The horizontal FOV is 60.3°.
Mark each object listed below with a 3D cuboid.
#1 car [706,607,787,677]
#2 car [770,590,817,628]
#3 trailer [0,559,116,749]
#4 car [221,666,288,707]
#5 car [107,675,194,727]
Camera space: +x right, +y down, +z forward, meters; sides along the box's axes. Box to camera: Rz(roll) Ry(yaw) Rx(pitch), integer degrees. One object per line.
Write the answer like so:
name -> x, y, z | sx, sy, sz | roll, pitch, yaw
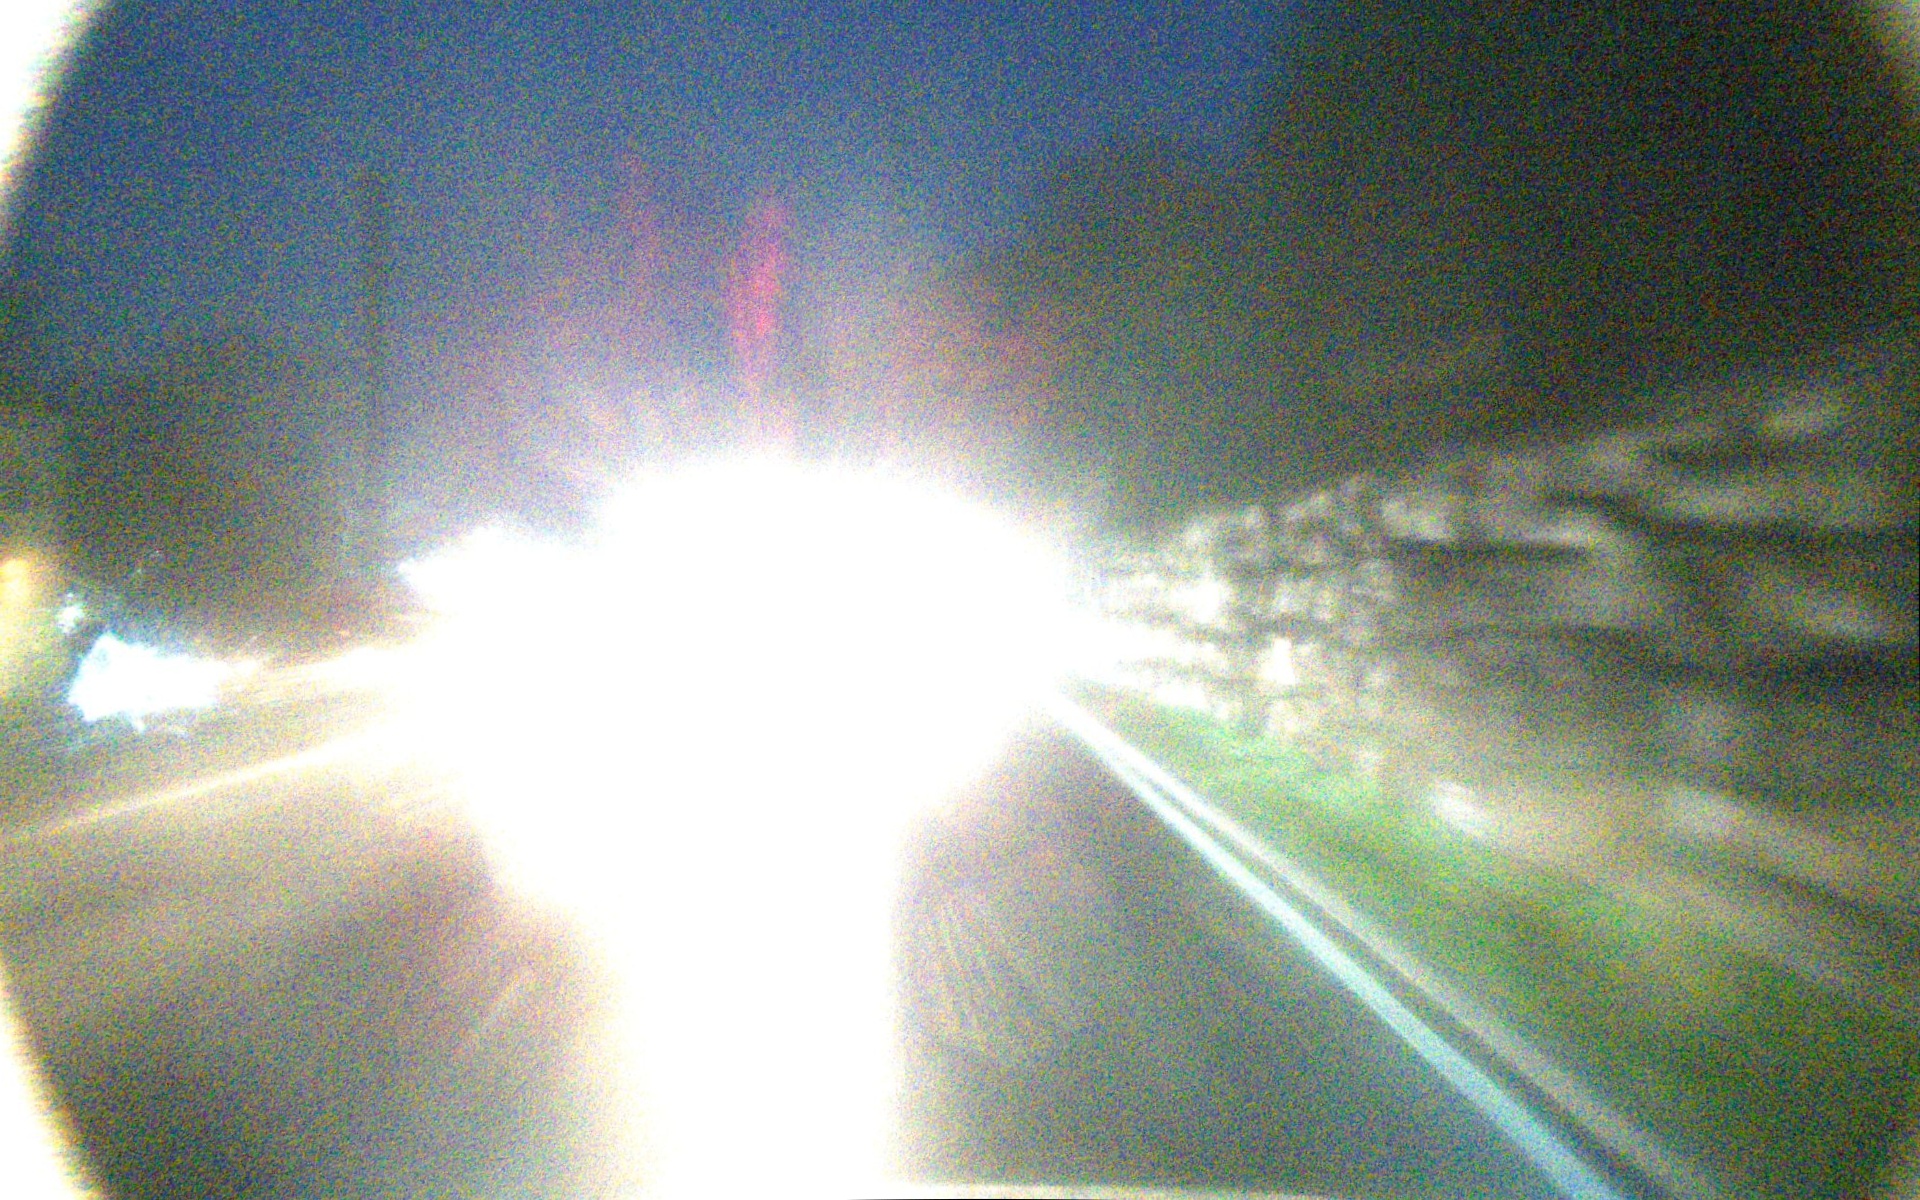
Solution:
car -> -5.027, 0.953, 39.300 | 1.603, 1.546, 3.768 | -1, 0, -3
car -> -6.726, 0.361, 67.062 | 1.750, 1.505, 3.677 | 1, 0, -3
trailer -> -26.507, 1.370, 41.389 | 3.256, 4.880, 11.565 | 0, 0, 10
car -> -31.030, 3.793, 72.842 | 1.775, 1.597, 4.282 | 1, 0, -10
car -> -30.534, 3.774, 62.495 | 1.775, 1.705, 4.283 | 1, 0, -10
